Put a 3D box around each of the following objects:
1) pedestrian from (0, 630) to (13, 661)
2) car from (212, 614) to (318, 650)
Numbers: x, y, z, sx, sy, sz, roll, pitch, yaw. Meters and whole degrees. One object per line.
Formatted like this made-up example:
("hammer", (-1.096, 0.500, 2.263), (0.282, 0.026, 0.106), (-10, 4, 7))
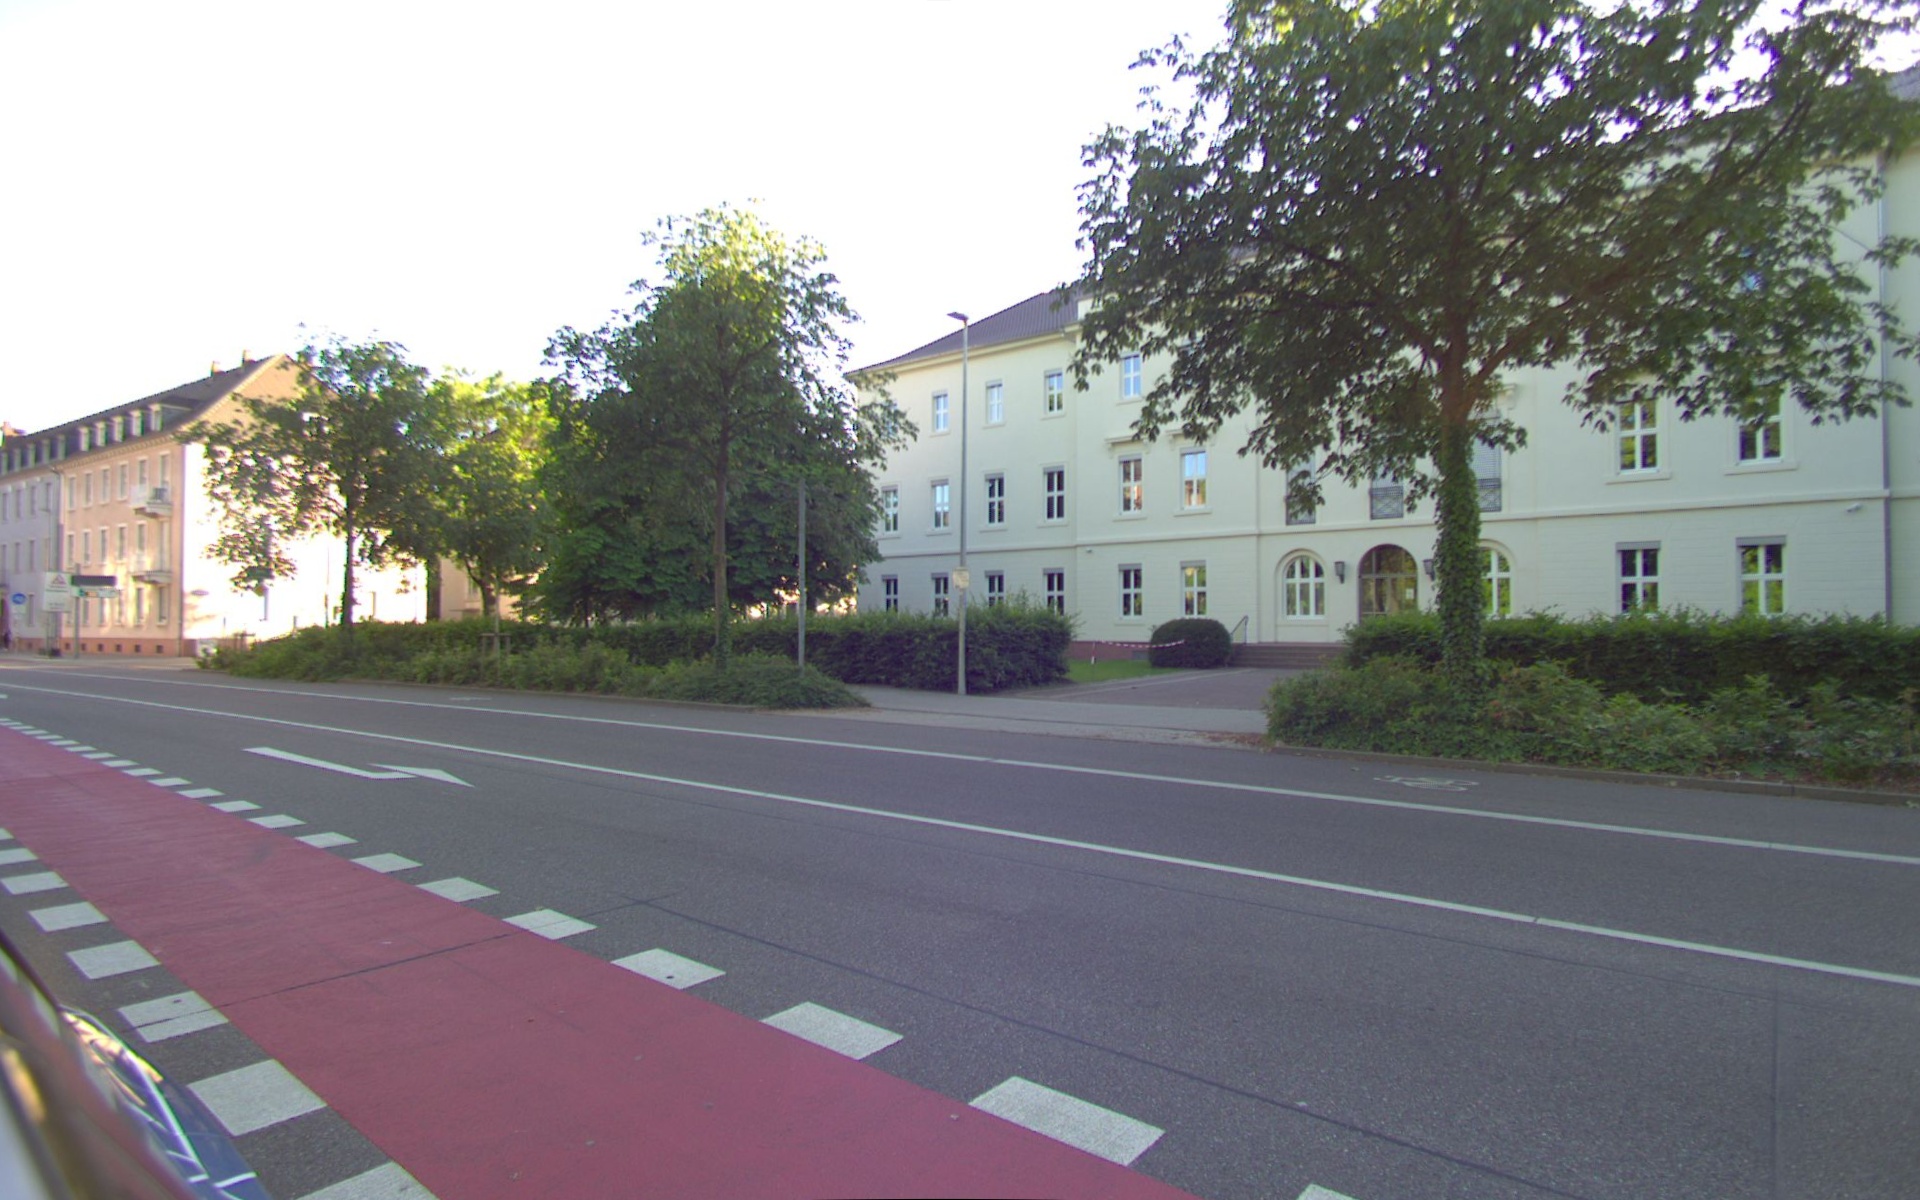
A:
("pedestrian", (-61.176, 2.893, 64.508), (1.060, 1.919, 0.938), (-1, -1, 33))
("car", (-35.025, 1.576, 51.108), (1.993, 1.674, 3.958), (-1, -1, 31))
